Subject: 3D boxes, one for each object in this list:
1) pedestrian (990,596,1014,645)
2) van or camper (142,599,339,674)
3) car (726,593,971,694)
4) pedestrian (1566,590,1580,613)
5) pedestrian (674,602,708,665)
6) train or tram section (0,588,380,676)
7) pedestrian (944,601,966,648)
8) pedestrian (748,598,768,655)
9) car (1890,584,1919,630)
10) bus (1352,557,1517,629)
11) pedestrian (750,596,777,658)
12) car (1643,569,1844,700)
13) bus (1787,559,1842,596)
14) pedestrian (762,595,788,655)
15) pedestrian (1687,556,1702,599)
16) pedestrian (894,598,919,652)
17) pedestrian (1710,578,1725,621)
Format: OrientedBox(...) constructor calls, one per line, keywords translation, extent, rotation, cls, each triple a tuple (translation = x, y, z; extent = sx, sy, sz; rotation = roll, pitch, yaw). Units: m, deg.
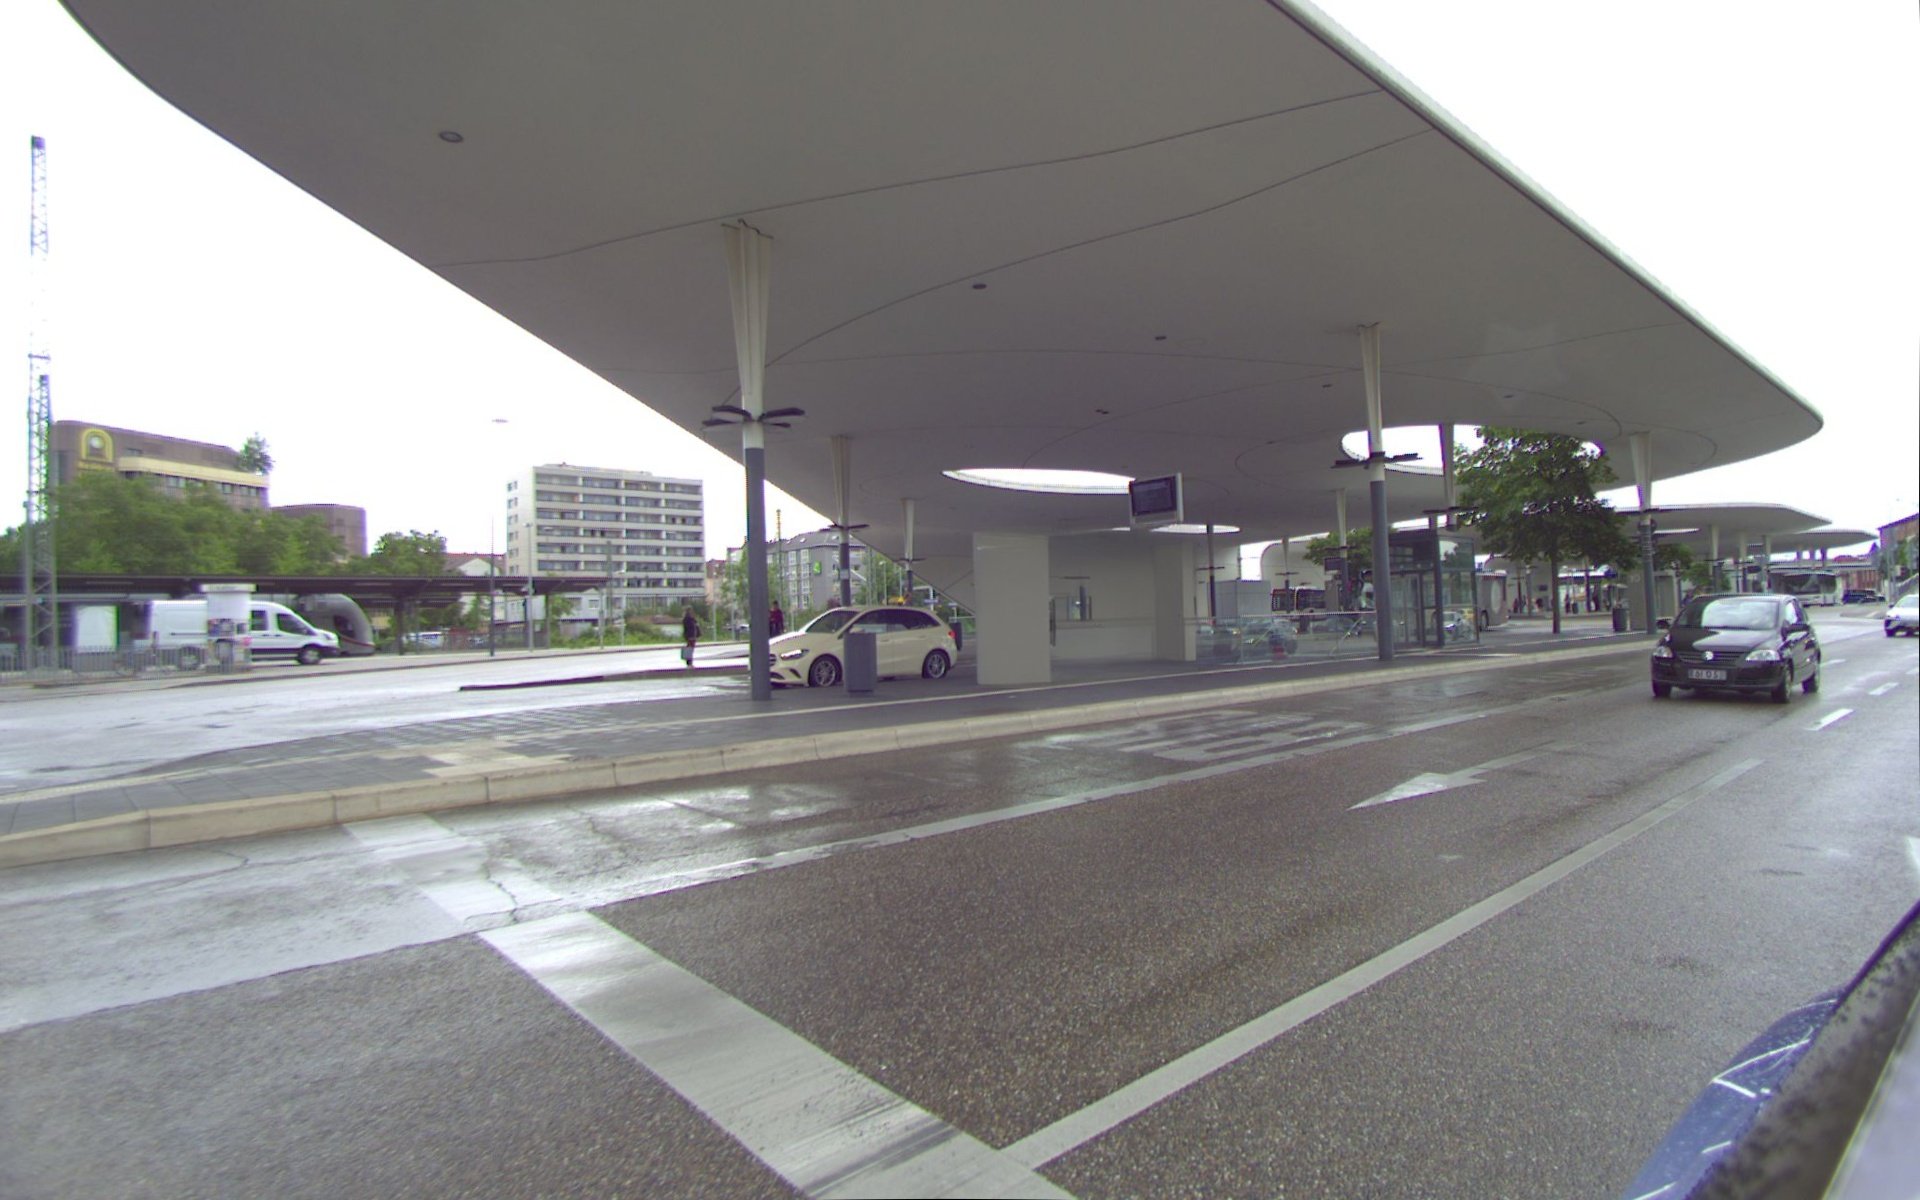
OrientedBox(translation=(1.313, 0.639, 31.661), extent=(0.525, 1.533, 0.479), rotation=(-1, -1, -38), cls="pedestrian")
OrientedBox(translation=(-26.530, 1.244, 37.487), extent=(5.764, 2.464, 1.996), rotation=(-1, 1, -42), cls="van or camper")
OrientedBox(translation=(-2.111, 0.749, 19.918), extent=(4.464, 1.702, 1.996), rotation=(-1, 1, -42), cls="car")
OrientedBox(translation=(54.014, 0.116, 89.201), extent=(1.016, 2.039, 0.871), rotation=(-1, 0, 29), cls="pedestrian")
OrientedBox(translation=(-7.033, 0.864, 26.422), extent=(0.726, 1.615, 0.643), rotation=(-1, 0, -27), cls="pedestrian")
OrientedBox(translation=(-47.864, 1.668, 54.255), extent=(28.808, 4.234, 4.597), rotation=(-2, 1, -42), cls="train or tram section")
OrientedBox(translation=(-0.160, 0.803, 33.680), extent=(0.516, 1.533, 0.479), rotation=(-1, -1, -38), cls="pedestrian")
OrientedBox(translation=(-5.597, 0.727, 28.072), extent=(0.469, 1.533, 0.536), rotation=(-1, -1, -7), cls="pedestrian")
OrientedBox(translation=(35.297, 0.208, 35.793), extent=(3.964, 1.578, 1.816), rotation=(-1, 1, -18), cls="car")
OrientedBox(translation=(23.138, -0.241, 48.854), extent=(11.715, 3.121, 2.873), rotation=(1, -1, -42), cls="bus")
OrientedBox(translation=(-4.949, 0.673, 25.518), extent=(0.470, 1.533, 0.535), rotation=(-1, -1, -37), cls="pedestrian")
OrientedBox(translation=(12.084, 0.443, 15.514), extent=(4.088, 1.723, 1.872), rotation=(0, 0, -44), cls="car")
OrientedBox(translation=(77.859, -1.999, 92.390), extent=(3.567, 3.137, 10.602), rotation=(-2, 0, 39), cls="bus")
OrientedBox(translation=(-4.801, 0.644, 26.246), extent=(0.470, 1.533, 0.535), rotation=(-1, -1, -37), cls="pedestrian")
OrientedBox(translation=(30.729, -0.949, 42.331), extent=(0.443, 1.786, 0.529), rotation=(-2, -1, 42), cls="pedestrian")
OrientedBox(translation=(-1.536, 0.715, 29.031), extent=(0.525, 1.533, 0.479), rotation=(-1, -1, -38), cls="pedestrian")
OrientedBox(translation=(31.314, -0.024, 41.852), extent=(0.443, 1.786, 0.530), rotation=(-2, -1, 36), cls="pedestrian")
